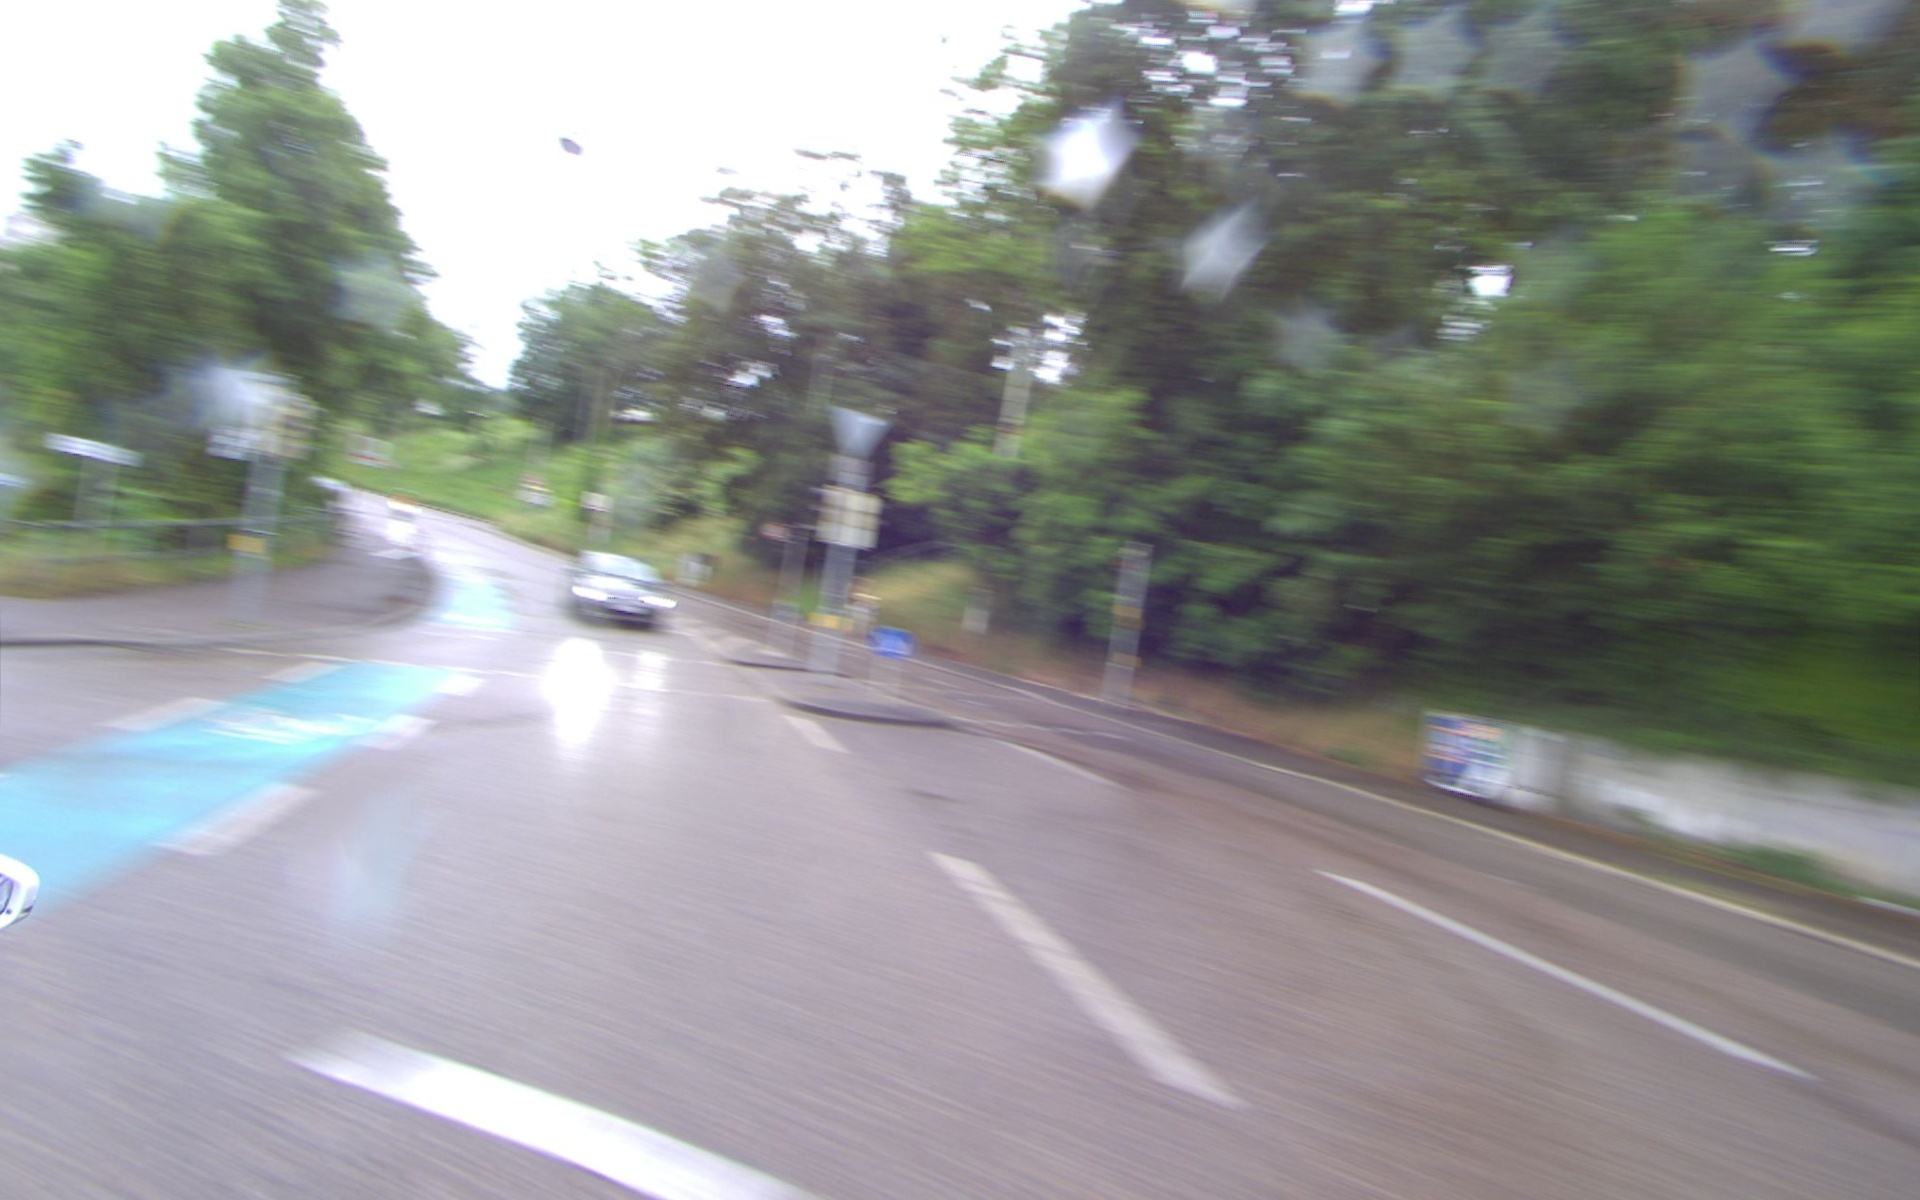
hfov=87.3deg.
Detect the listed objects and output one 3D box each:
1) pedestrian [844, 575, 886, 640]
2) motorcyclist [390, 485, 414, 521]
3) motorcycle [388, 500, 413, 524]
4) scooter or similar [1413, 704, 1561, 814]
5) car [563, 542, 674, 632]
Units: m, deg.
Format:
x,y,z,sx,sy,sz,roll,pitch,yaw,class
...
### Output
x,y,z,sx,sy,sz,roll,pitch,yaw,class
-2.787,0.212,29.494,0.643,1.774,0.792,9,1,-33,pedestrian
-32.571,-5.665,58.707,0.879,1.897,1.242,8,2,-34,motorcyclist
-32.547,-5.135,58.506,0.933,1.157,2.620,8,2,-33,motorcycle
6.851,2.046,13.192,0.594,1.087,1.764,9,-1,-13,scooter or similar
-7.748,-0.367,22.543,1.864,1.540,4.664,7,1,-23,car
